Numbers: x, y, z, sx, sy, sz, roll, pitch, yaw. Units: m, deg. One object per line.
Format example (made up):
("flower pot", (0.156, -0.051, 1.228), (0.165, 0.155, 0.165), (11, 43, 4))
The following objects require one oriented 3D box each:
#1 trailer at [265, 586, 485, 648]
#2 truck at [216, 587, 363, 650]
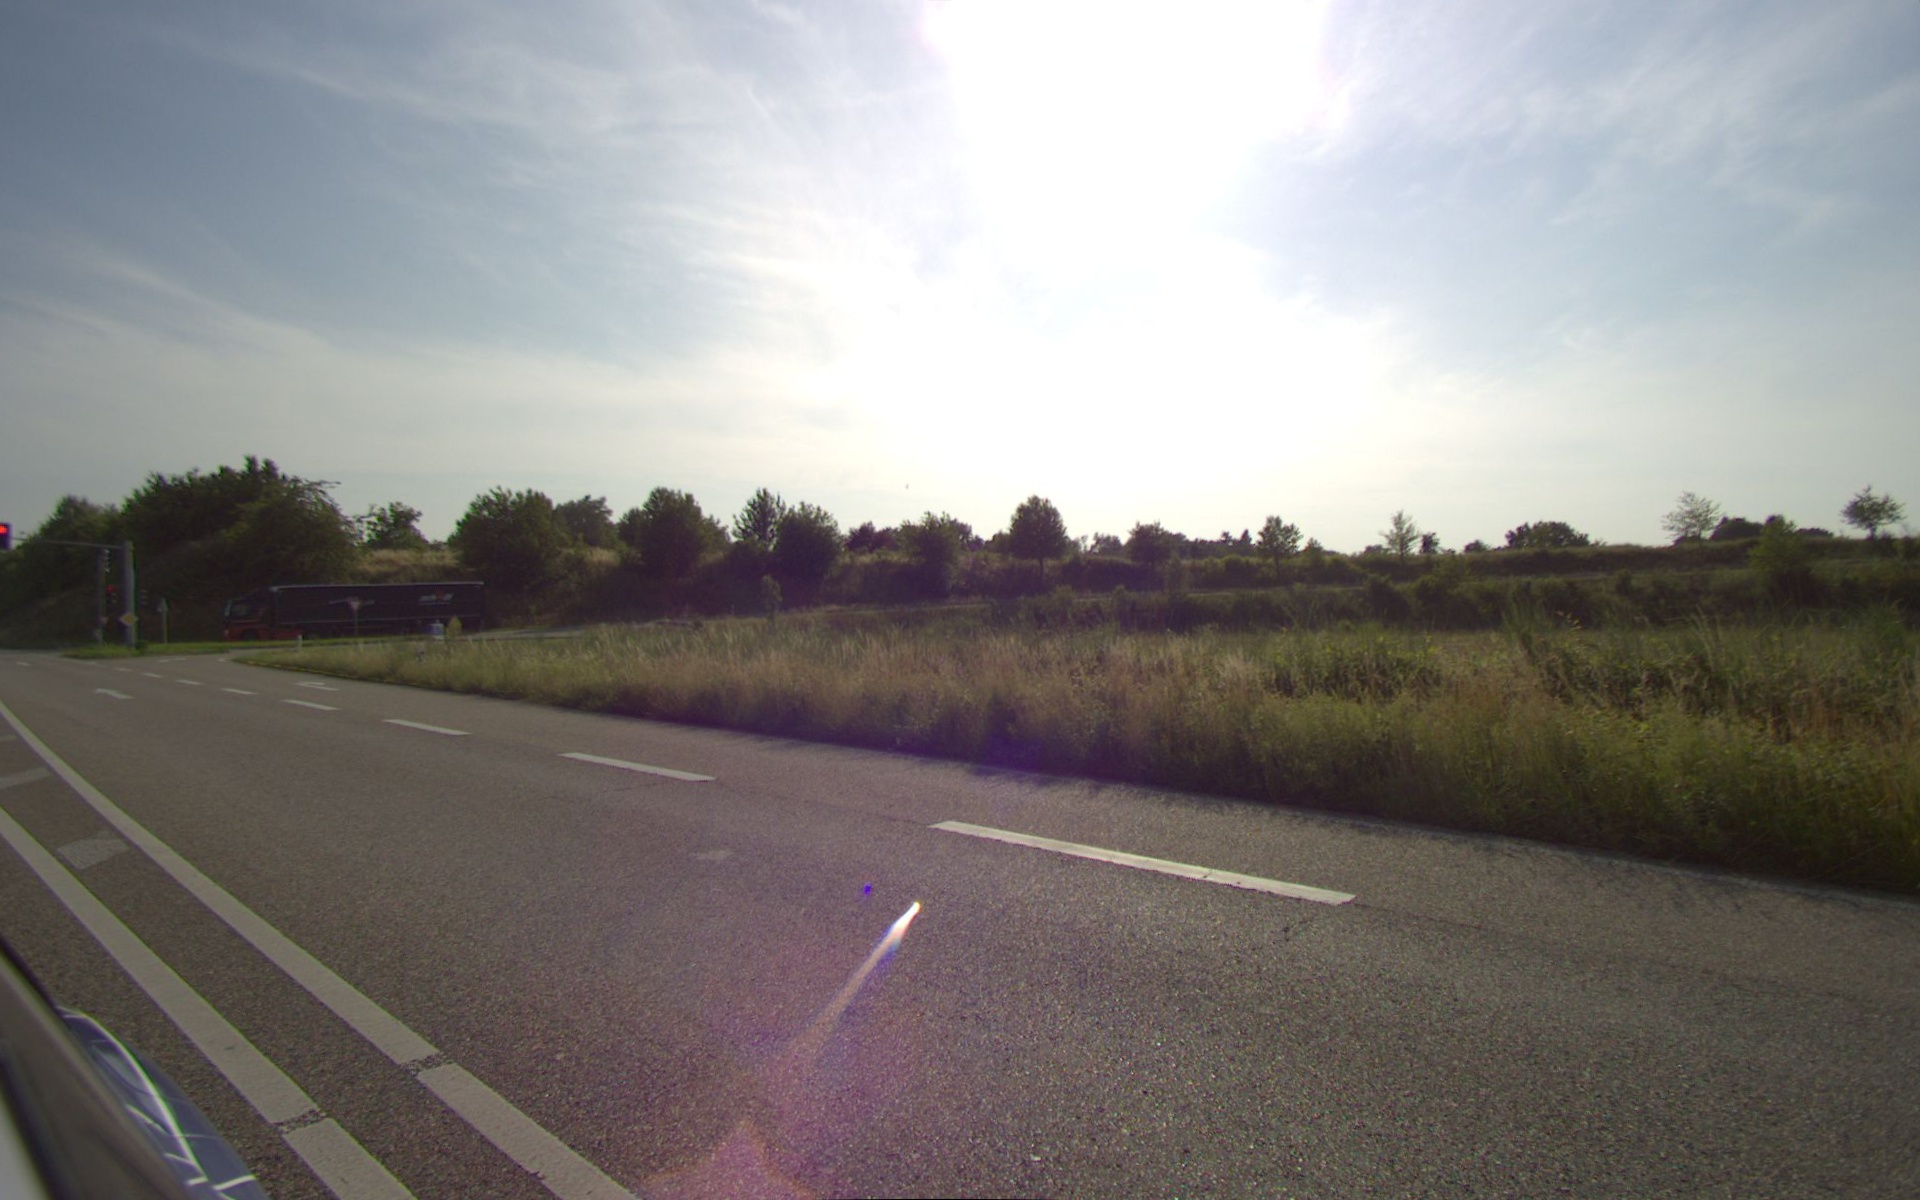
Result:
("trailer", (-42.821, 1.124, 74.626), (13.580, 4.144, 3.565), (-1, 0, -39))
("truck", (-47.046, 1.201, 71.150), (8.267, 4.144, 3.566), (-1, -1, -39))
